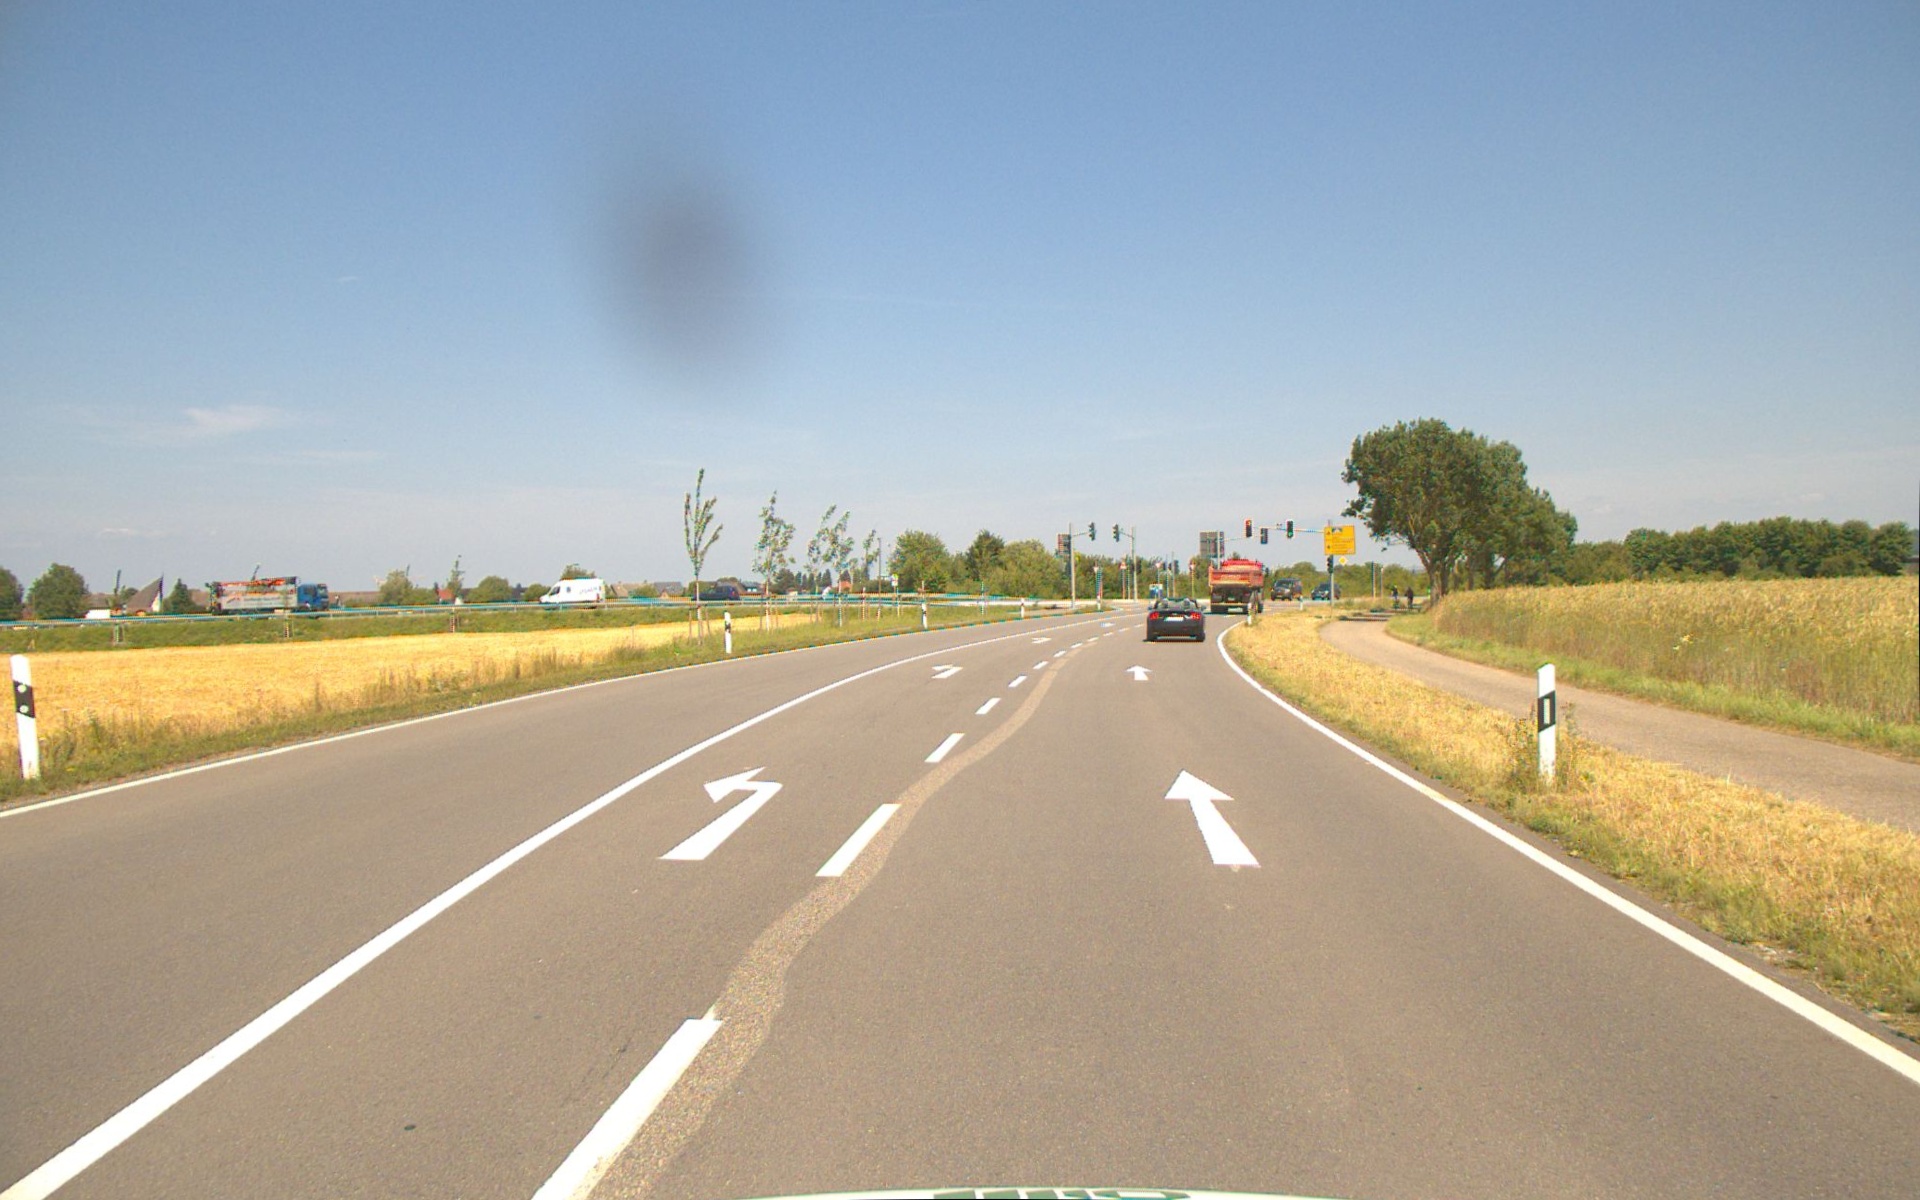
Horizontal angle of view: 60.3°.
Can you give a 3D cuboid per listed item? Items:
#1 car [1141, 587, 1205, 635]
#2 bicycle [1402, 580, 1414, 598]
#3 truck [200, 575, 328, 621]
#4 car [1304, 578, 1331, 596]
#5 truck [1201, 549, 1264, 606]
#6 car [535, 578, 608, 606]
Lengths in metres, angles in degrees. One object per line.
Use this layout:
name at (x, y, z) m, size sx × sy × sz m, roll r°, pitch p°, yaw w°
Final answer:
car at (6.507, 0.349, 50.219) m, size 1.710 × 1.400 × 3.682 m, roll 1°, pitch -1°, yaw 11°
bicycle at (31.805, -0.752, 117.407) m, size 0.684 × 1.231 × 2.051 m, roll 2°, pitch 1°, yaw 20°
truck at (-60.315, -0.232, 143.486) m, size 9.880 × 3.859 × 2.624 m, roll -1°, pitch 0°, yaw -4°
car at (35.680, -1.328, 164.908) m, size 1.891 × 1.770 × 4.889 m, roll 0°, pitch 1°, yaw 22°
truck at (15.958, -1.221, 96.436) m, size 2.656 × 3.106 × 8.169 m, roll -1°, pitch -1°, yaw 16°
car at (-34.487, -0.698, 146.910) m, size 5.793 × 2.464 × 2.249 m, roll 0°, pitch 0°, yaw 4°
